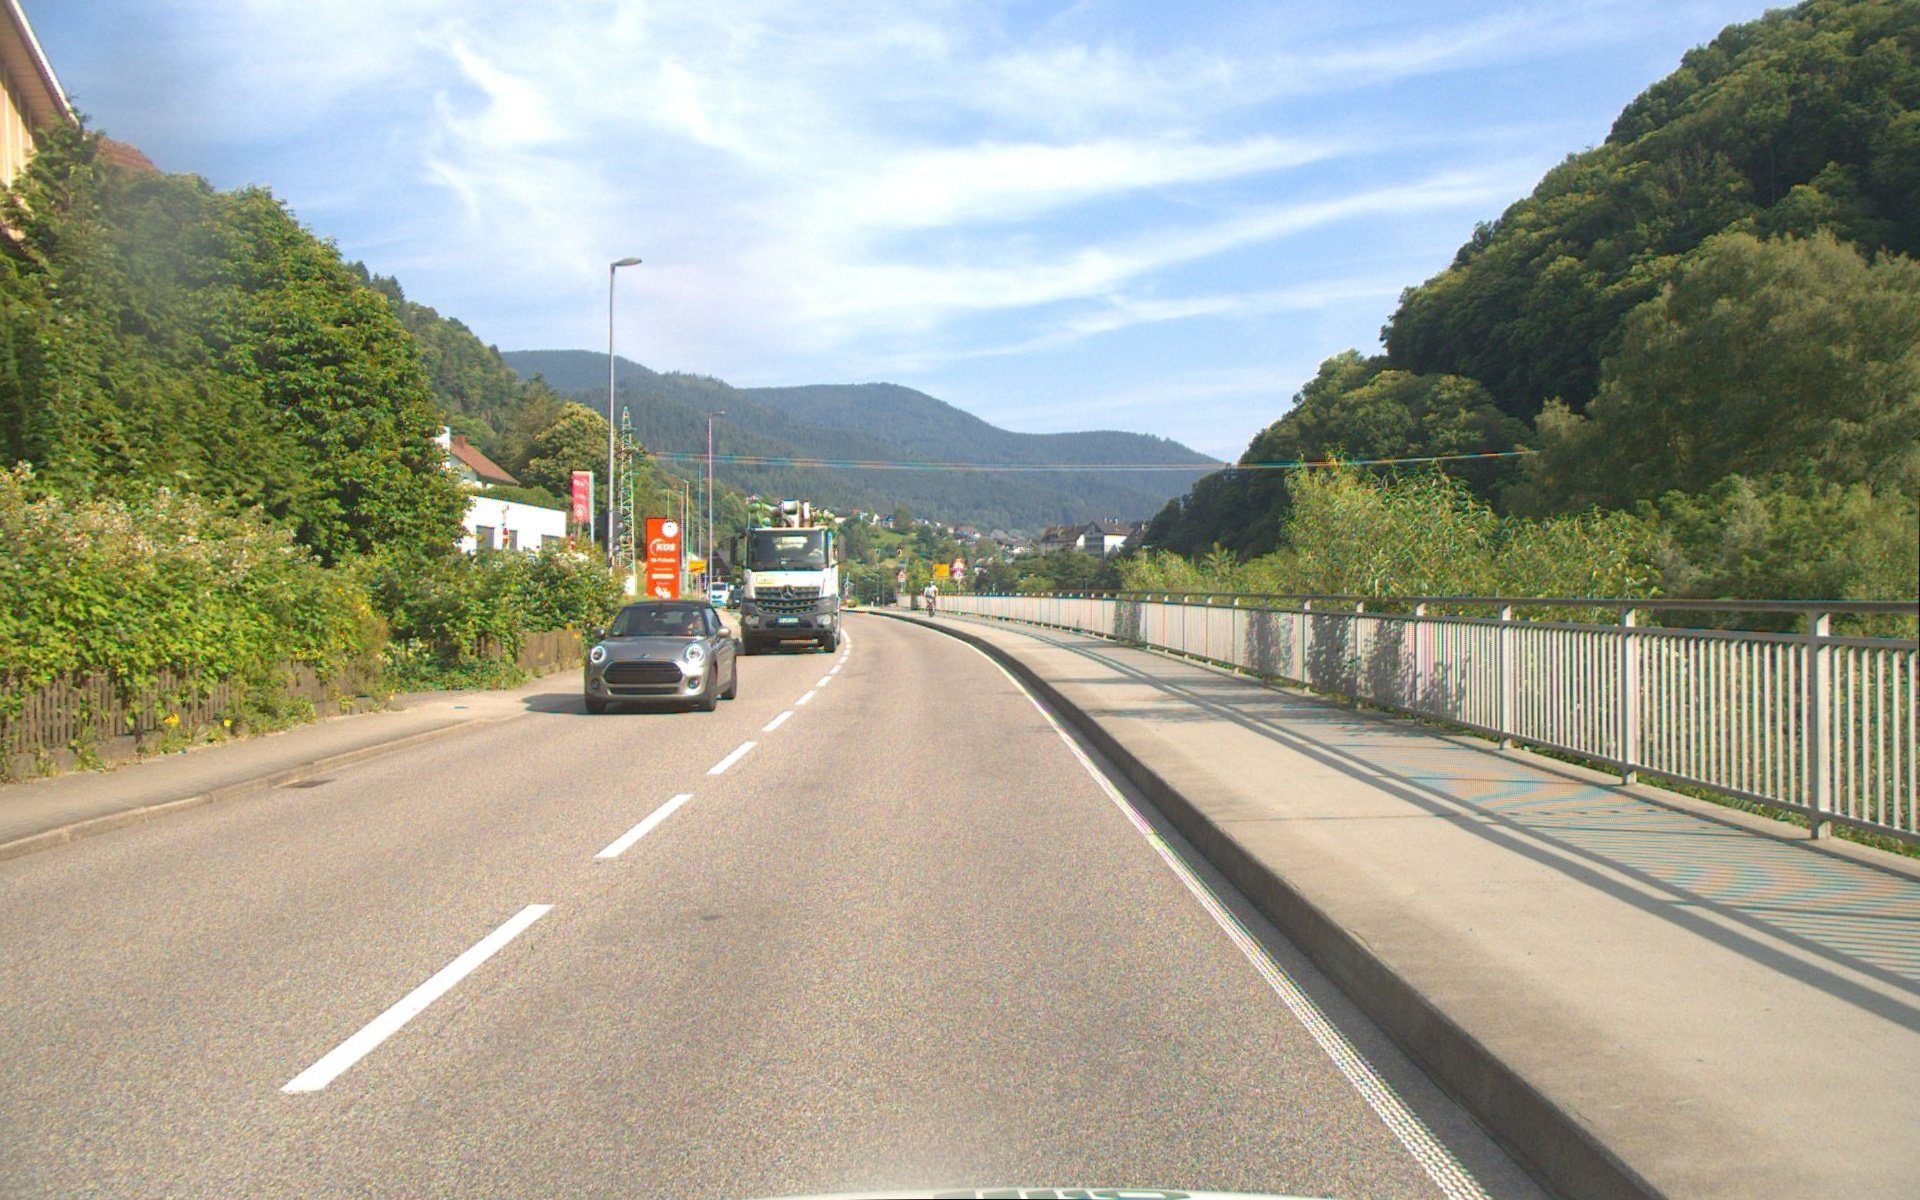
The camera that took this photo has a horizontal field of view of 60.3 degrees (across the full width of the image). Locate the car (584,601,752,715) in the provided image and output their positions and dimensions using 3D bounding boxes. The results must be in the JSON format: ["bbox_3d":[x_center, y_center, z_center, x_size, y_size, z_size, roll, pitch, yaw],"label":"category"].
[{"bbox_3d":[-3.914,0.742,22.780,1.679,1.427,3.999,0,0,-1],"label":"car"}]

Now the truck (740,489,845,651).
[{"bbox_3d":[-4.696,-0.752,46.593,2.528,4.000,11.292,-1,0,-6],"label":"truck"}]
